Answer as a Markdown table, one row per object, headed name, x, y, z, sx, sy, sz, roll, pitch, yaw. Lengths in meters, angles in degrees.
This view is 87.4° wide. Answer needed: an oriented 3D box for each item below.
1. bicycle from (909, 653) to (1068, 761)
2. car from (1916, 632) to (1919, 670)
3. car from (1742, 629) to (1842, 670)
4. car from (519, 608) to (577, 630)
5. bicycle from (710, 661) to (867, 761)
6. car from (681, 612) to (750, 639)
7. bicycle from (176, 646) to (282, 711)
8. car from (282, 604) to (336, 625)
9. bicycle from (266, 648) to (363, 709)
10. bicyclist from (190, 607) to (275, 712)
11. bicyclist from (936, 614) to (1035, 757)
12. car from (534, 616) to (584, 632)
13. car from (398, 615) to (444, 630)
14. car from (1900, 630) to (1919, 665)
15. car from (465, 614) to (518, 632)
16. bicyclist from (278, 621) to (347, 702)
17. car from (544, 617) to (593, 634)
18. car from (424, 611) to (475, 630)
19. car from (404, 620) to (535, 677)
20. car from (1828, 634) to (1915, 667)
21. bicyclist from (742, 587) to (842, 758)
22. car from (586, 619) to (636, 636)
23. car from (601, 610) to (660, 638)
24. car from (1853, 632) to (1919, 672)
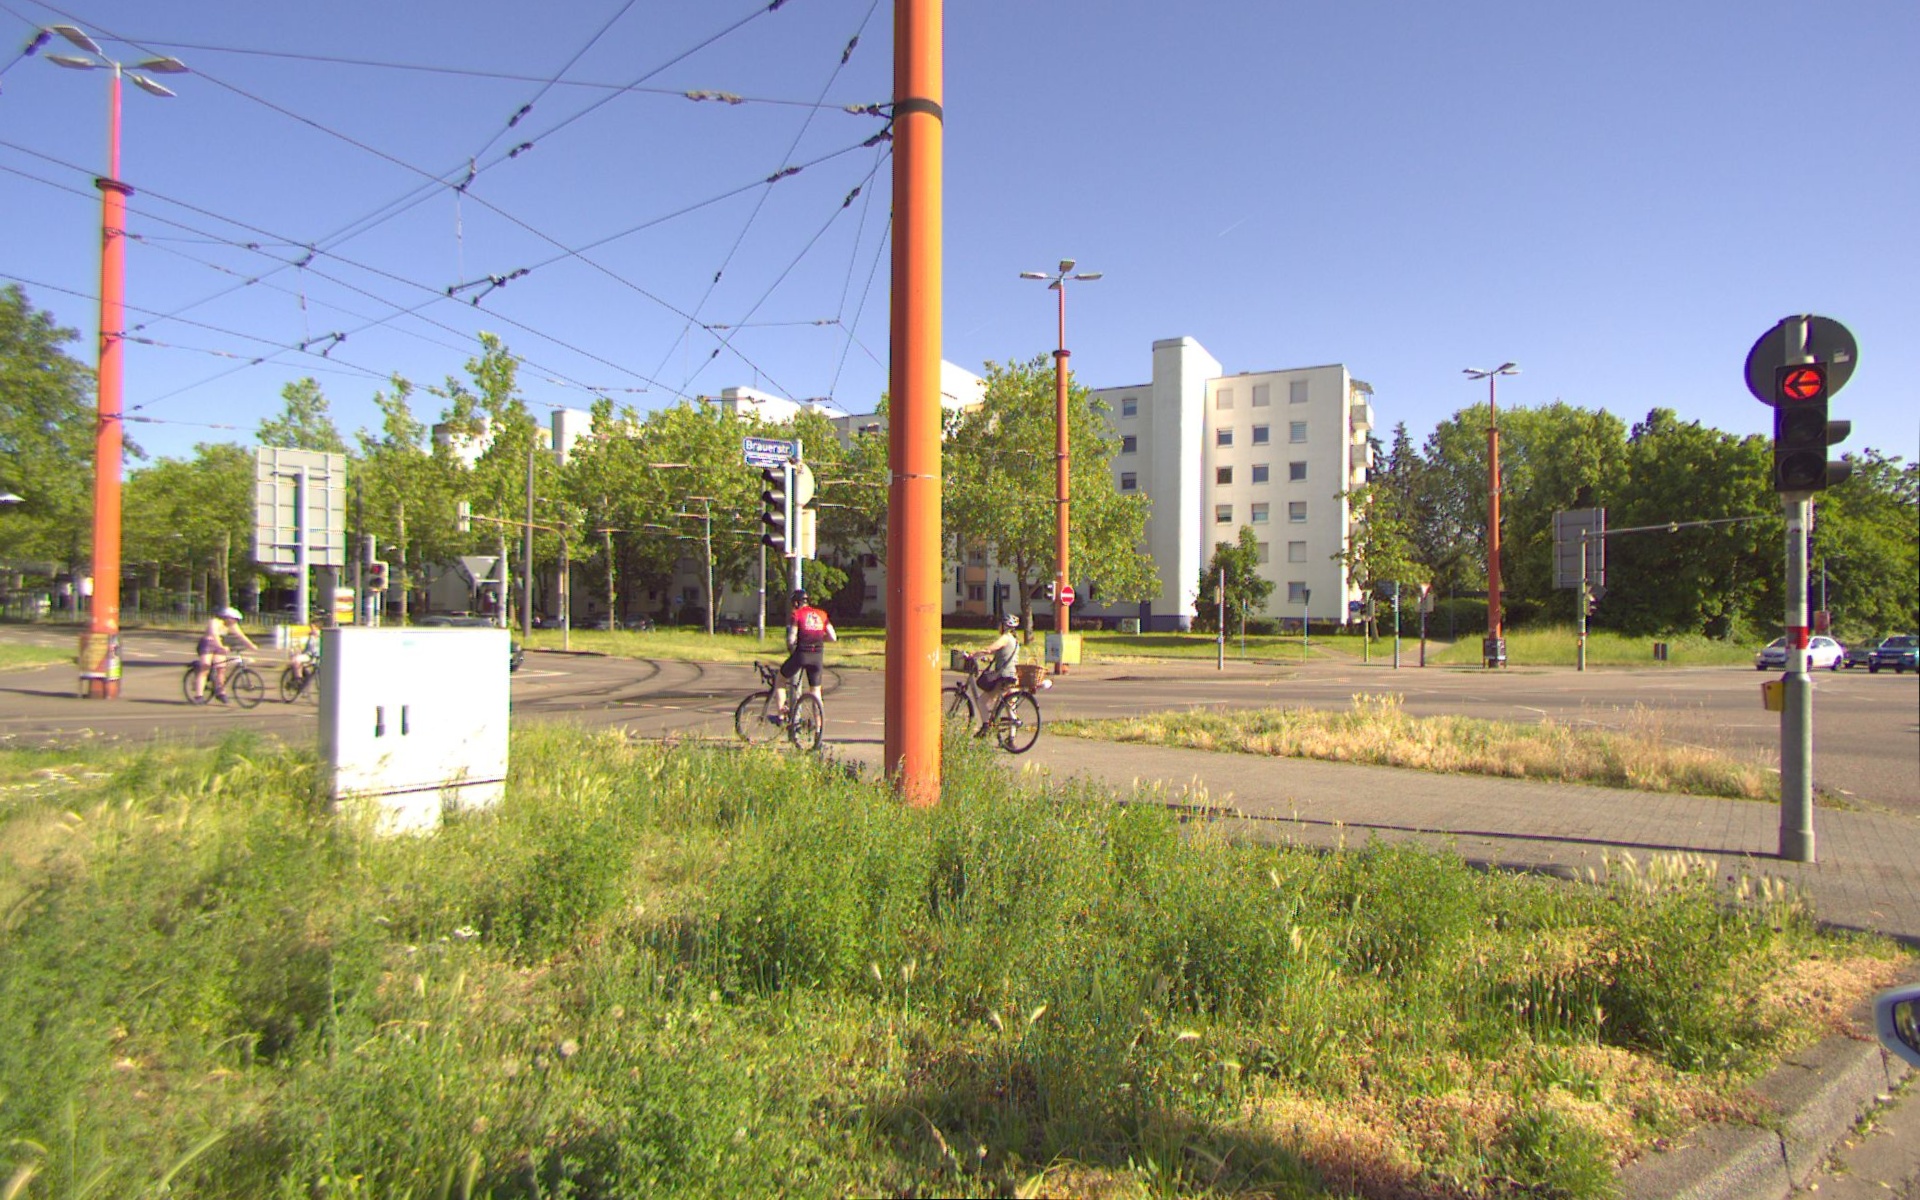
| name | x | y | z | sx | sy | sz | roll | pitch | yaw |
| --- | --- | --- | --- | --- | --- | --- | --- | --- | --- |
| bicycle | 0.320 | 1.255 | 12.189 | 1.887 | 1.146 | 0.737 | 0 | -1 | 41 |
| car | 42.612 | 2.173 | 42.717 | 3.955 | 1.575 | 1.891 | 2 | -2 | -32 |
| car | 35.372 | 2.115 | 42.689 | 4.168 | 1.673 | 1.869 | 2 | -3 | -29 |
| car | -32.543 | 1.512 | 79.437 | 3.868 | 1.614 | 1.656 | 2 | 0 | -8 |
| bicycle | -2.070 | 1.288 | 12.007 | 1.883 | 1.085 | 0.690 | -2 | -2 | 33 |
| car | -14.364 | 1.521 | 59.058 | 3.884 | 1.522 | 1.833 | -1 | -3 | 35 |
| bicycle | -13.637 | 1.442 | 18.738 | 1.877 | 1.086 | 0.580 | 2 | 0 | 17 |
| car | -66.295 | 1.472 | 102.363 | 4.274 | 2.010 | 1.932 | 1 | -1 | -19 |
| bicycle | -12.853 | 1.539 | 20.001 | 1.878 | 1.086 | 0.580 | 2 | 0 | 19 |
| bicyclist | -13.593 | 1.086 | 18.780 | 0.905 | 1.892 | 0.893 | 2 | 0 | 17 |
| bicyclist | 0.319 | 1.005 | 12.231 | 0.815 | 1.643 | 0.888 | 0 | -1 | 41 |
| car | -30.891 | 1.862 | 77.442 | 3.346 | 1.162 | 1.305 | 2 | 0 | -13 |
| car | -46.620 | 1.931 | 86.960 | 3.370 | 1.204 | 1.439 | 2 | 0 | -23 |
| car | 49.102 | 2.403 | 50.428 | 3.930 | 1.673 | 1.769 | 3 | -4 | -32 |
| car | -38.835 | 1.924 | 83.393 | 3.665 | 1.349 | 1.496 | 2 | 0 | -8 |
| bicyclist | -12.891 | 1.205 | 20.009 | 0.906 | 1.545 | 0.720 | 2 | 0 | 20 |
| car | -29.323 | 1.895 | 75.345 | 3.219 | 1.172 | 1.357 | 2 | 0 | -12 |
| car | -43.253 | 1.768 | 85.105 | 3.592 | 1.480 | 1.608 | 2 | 0 | -19 |
| car | -15.217 | 1.445 | 31.102 | 3.977 | 1.516 | 1.913 | 2 | 0 | 34 |
| car | 43.141 | 2.379 | 47.533 | 3.952 | 1.533 | 1.877 | 1 | -2 | -29 |
| bicyclist | -2.005 | 0.845 | 11.967 | 0.974 | 1.938 | 0.685 | -1 | -2 | 33 |
| car | -25.826 | 2.001 | 74.318 | 3.279 | 1.149 | 1.321 | 2 | 0 | -11 |
| car | -23.662 | 1.707 | 72.301 | 3.874 | 1.841 | 1.651 | 2 | 0 | -13 |
| car | 37.302 | 2.044 | 39.767 | 3.813 | 1.535 | 1.793 | 1 | -3 | -30 |
